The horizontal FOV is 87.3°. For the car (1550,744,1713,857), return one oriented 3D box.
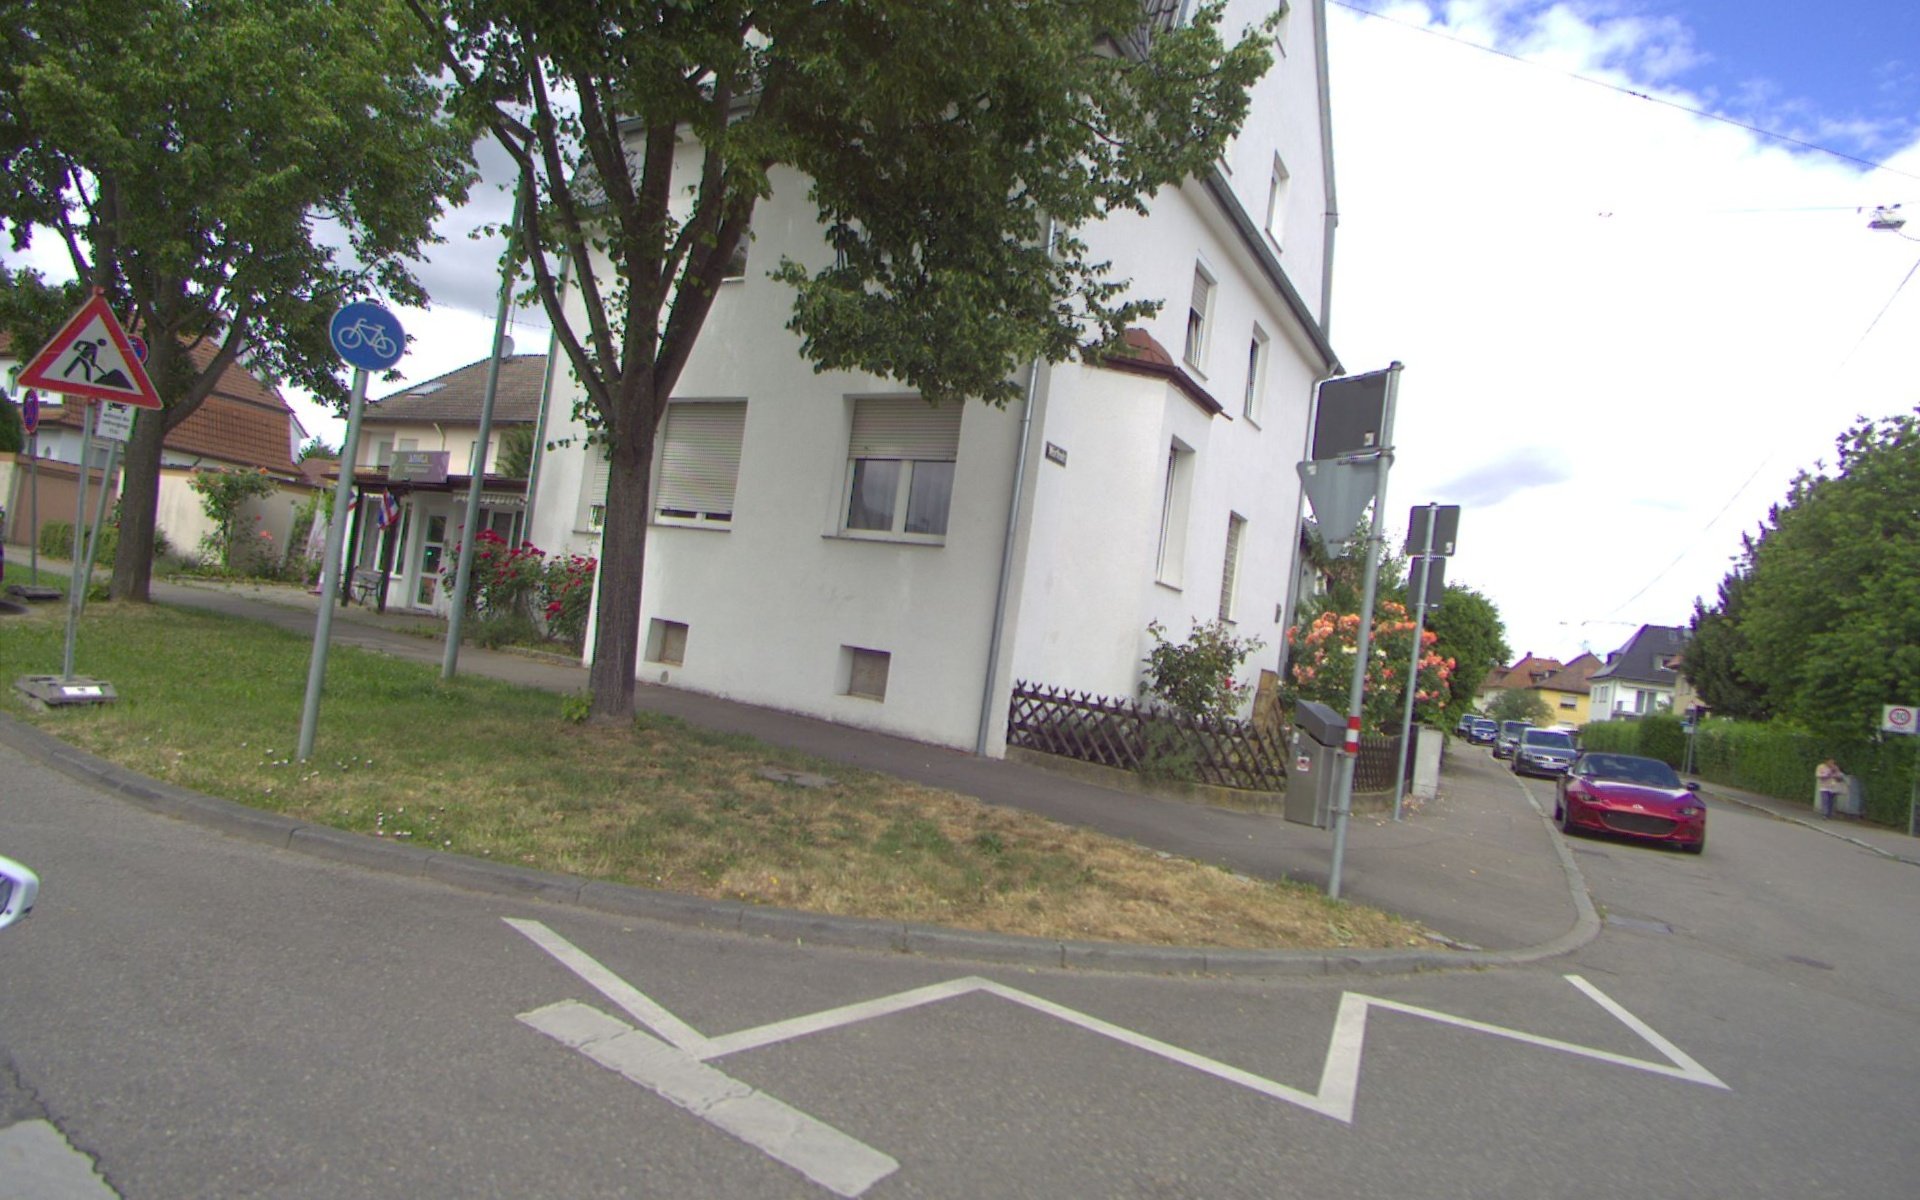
[{"bbox_3d":[10.268,2.996,15.619,1.717,1.244,3.707,5,-4,30],"label":"car"}]

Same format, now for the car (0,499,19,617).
[{"bbox_3d":[-14.335,-0.822,13.159,4.539,1.472,1.709,7,-1,32],"label":"car"}]

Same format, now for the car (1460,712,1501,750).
[{"bbox_3d":[29.504,7.400,57.127,1.734,1.770,4.000,7,-2,26],"label":"car"}]

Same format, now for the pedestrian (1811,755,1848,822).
[{"bbox_3d":[21.853,4.716,25.284,0.552,1.576,0.576,3,-3,31],"label":"pedestrian"}]

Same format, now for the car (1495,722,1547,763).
[{"bbox_3d":[22.721,5.724,40.720,1.631,1.321,3.693,7,-2,30],"label":"car"}]

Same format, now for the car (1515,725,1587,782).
[{"bbox_3d":[17.749,4.568,30.292,1.631,1.321,3.693,7,-2,30],"label":"car"}]

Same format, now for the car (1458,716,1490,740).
[{"bbox_3d":[34.506,8.561,67.530,1.631,1.321,3.693,7,-2,30],"label":"car"}]
